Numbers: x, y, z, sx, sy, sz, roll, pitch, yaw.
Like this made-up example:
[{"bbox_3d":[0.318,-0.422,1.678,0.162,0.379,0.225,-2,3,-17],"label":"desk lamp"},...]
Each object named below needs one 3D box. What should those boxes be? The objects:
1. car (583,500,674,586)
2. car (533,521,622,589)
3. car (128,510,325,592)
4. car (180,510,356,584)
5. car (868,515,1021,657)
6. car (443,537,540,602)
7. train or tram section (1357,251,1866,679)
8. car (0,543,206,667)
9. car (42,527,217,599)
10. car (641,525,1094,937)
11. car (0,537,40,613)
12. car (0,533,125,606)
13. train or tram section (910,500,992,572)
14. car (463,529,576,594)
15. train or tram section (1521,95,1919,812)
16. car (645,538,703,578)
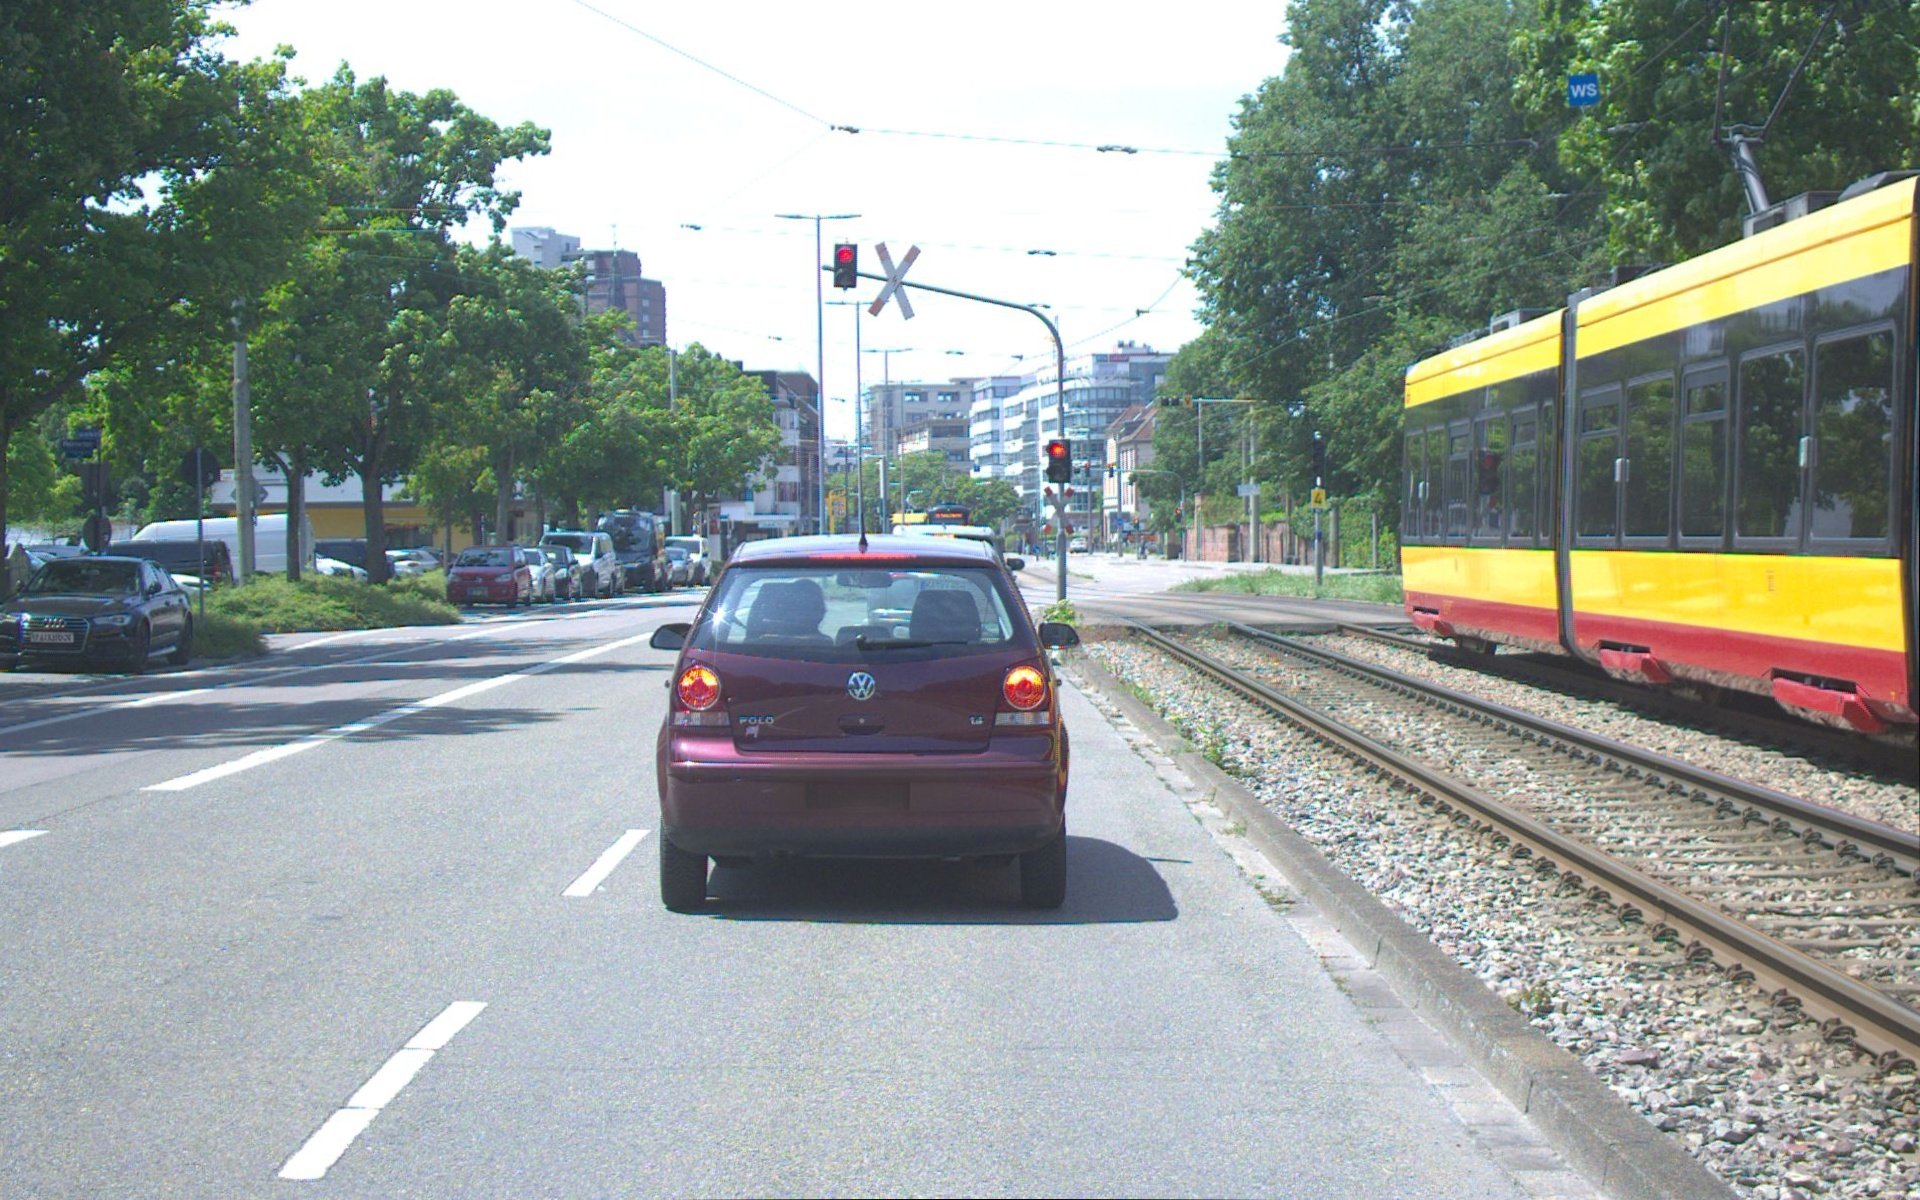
[{"bbox_3d":[-10.766,-1.839,112.015,2.361,2.683,5.307,1,0,1],"label":"car"},{"bbox_3d":[-10.981,-1.273,98.978,1.783,1.875,4.785,1,0,2],"label":"car"},{"bbox_3d":[-21.064,-1.407,98.938,5.097,2.237,2.378,1,0,1],"label":"car"},{"bbox_3d":[-22.123,-1.702,110.085,5.097,2.237,2.378,1,0,1],"label":"car"},{"bbox_3d":[-0.228,-0.204,42.411,1.777,1.641,4.000,1,1,-1],"label":"car"},{"bbox_3d":[-11.166,-0.723,82.194,1.663,1.491,4.000,1,0,1],"label":"car"},{"bbox_3d":[6.566,-1.342,37.117,3.028,3.785,12.761,-1,1,0],"label":"train or tram section"},{"bbox_3d":[-11.129,0.026,44.447,1.818,1.471,4.449,1,1,-1],"label":"car"},{"bbox_3d":[-21.311,-0.967,88.316,3.987,1.740,1.998,-1,1,-1],"label":"car"},{"bbox_3d":[-0.386,0.448,14.851,1.672,1.516,4.000,1,1,-1],"label":"car"},{"bbox_3d":[-21.827,-0.498,72.479,4.343,1.579,1.913,-1,1,-2],"label":"car"},{"bbox_3d":[-21.299,-0.676,77.573,4.344,1.579,1.912,-1,1,6],"label":"car"},{"bbox_3d":[-0.549,-3.435,181.926,2.740,3.597,12.873,1,1,-7],"label":"train or tram section"},{"bbox_3d":[-11.330,-0.976,88.742,1.976,1.595,4.557,1,0,4],"label":"car"},{"bbox_3d":[6.583,-0.920,24.345,3.028,3.785,13.090,-1,1,0],"label":"train or tram section"},{"bbox_3d":[-10.778,-1.569,129.592,1.614,1.436,4.000,1,0,3],"label":"car"}]
